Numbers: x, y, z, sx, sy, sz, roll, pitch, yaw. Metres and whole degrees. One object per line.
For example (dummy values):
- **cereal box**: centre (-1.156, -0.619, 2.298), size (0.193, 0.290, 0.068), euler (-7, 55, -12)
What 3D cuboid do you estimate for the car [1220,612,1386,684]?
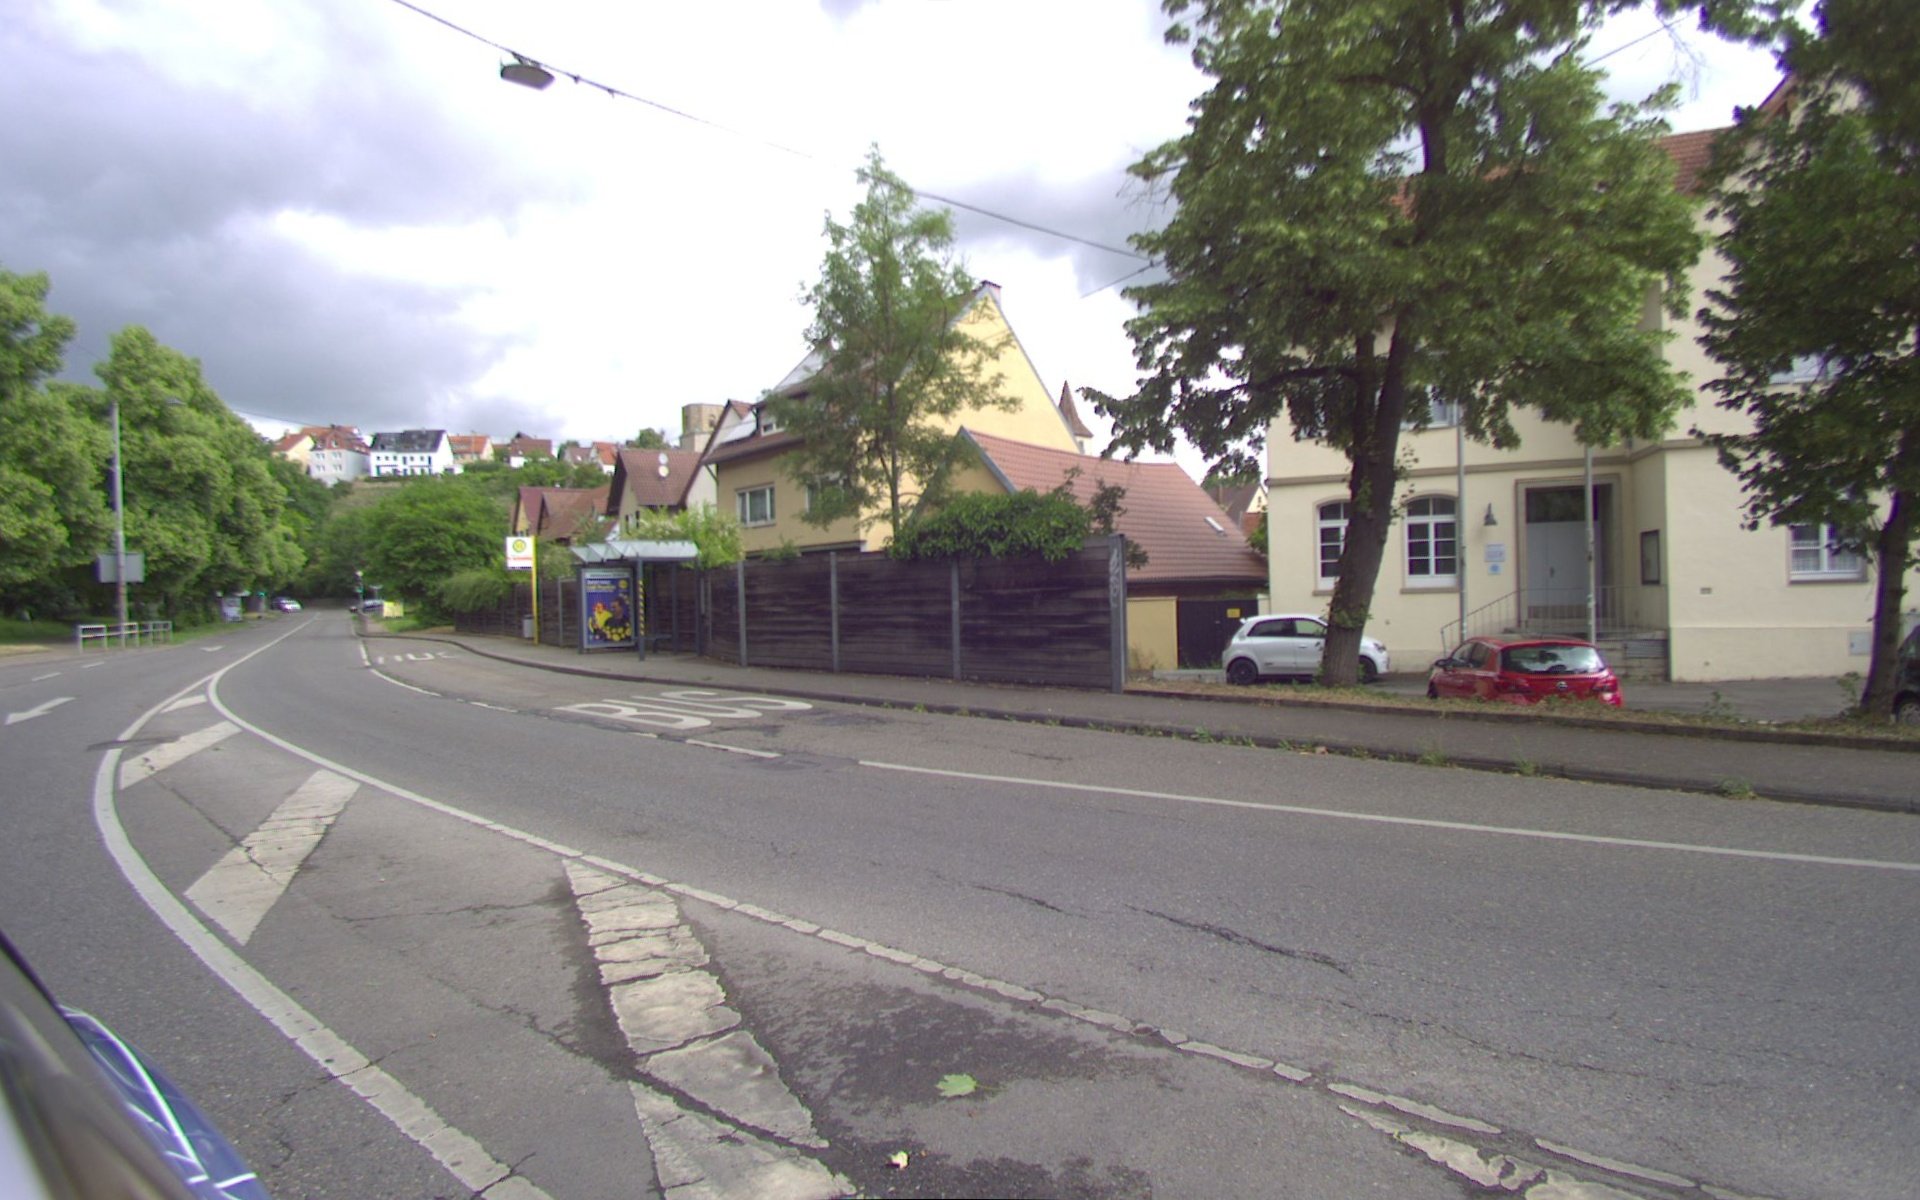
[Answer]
- **car**: centre (7.715, 1.055, 22.889), size (3.411, 1.490, 1.600), euler (-1, 0, 21)

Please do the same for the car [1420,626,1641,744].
- **car**: centre (8.171, 1.145, 14.875), size (1.644, 1.393, 3.708), euler (-1, 0, 10)

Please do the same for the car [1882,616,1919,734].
- **car**: centre (12.631, 0.932, 11.308), size (1.626, 1.450, 3.567), euler (-1, 0, 7)

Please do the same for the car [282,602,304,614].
- **car**: centre (-87.420, 1.033, 132.682), size (1.739, 1.536, 3.686), euler (-1, 0, -44)

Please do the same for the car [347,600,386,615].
- **car**: centre (-68.357, 0.885, 116.640), size (3.625, 1.596, 1.768), euler (-1, 0, -40)
